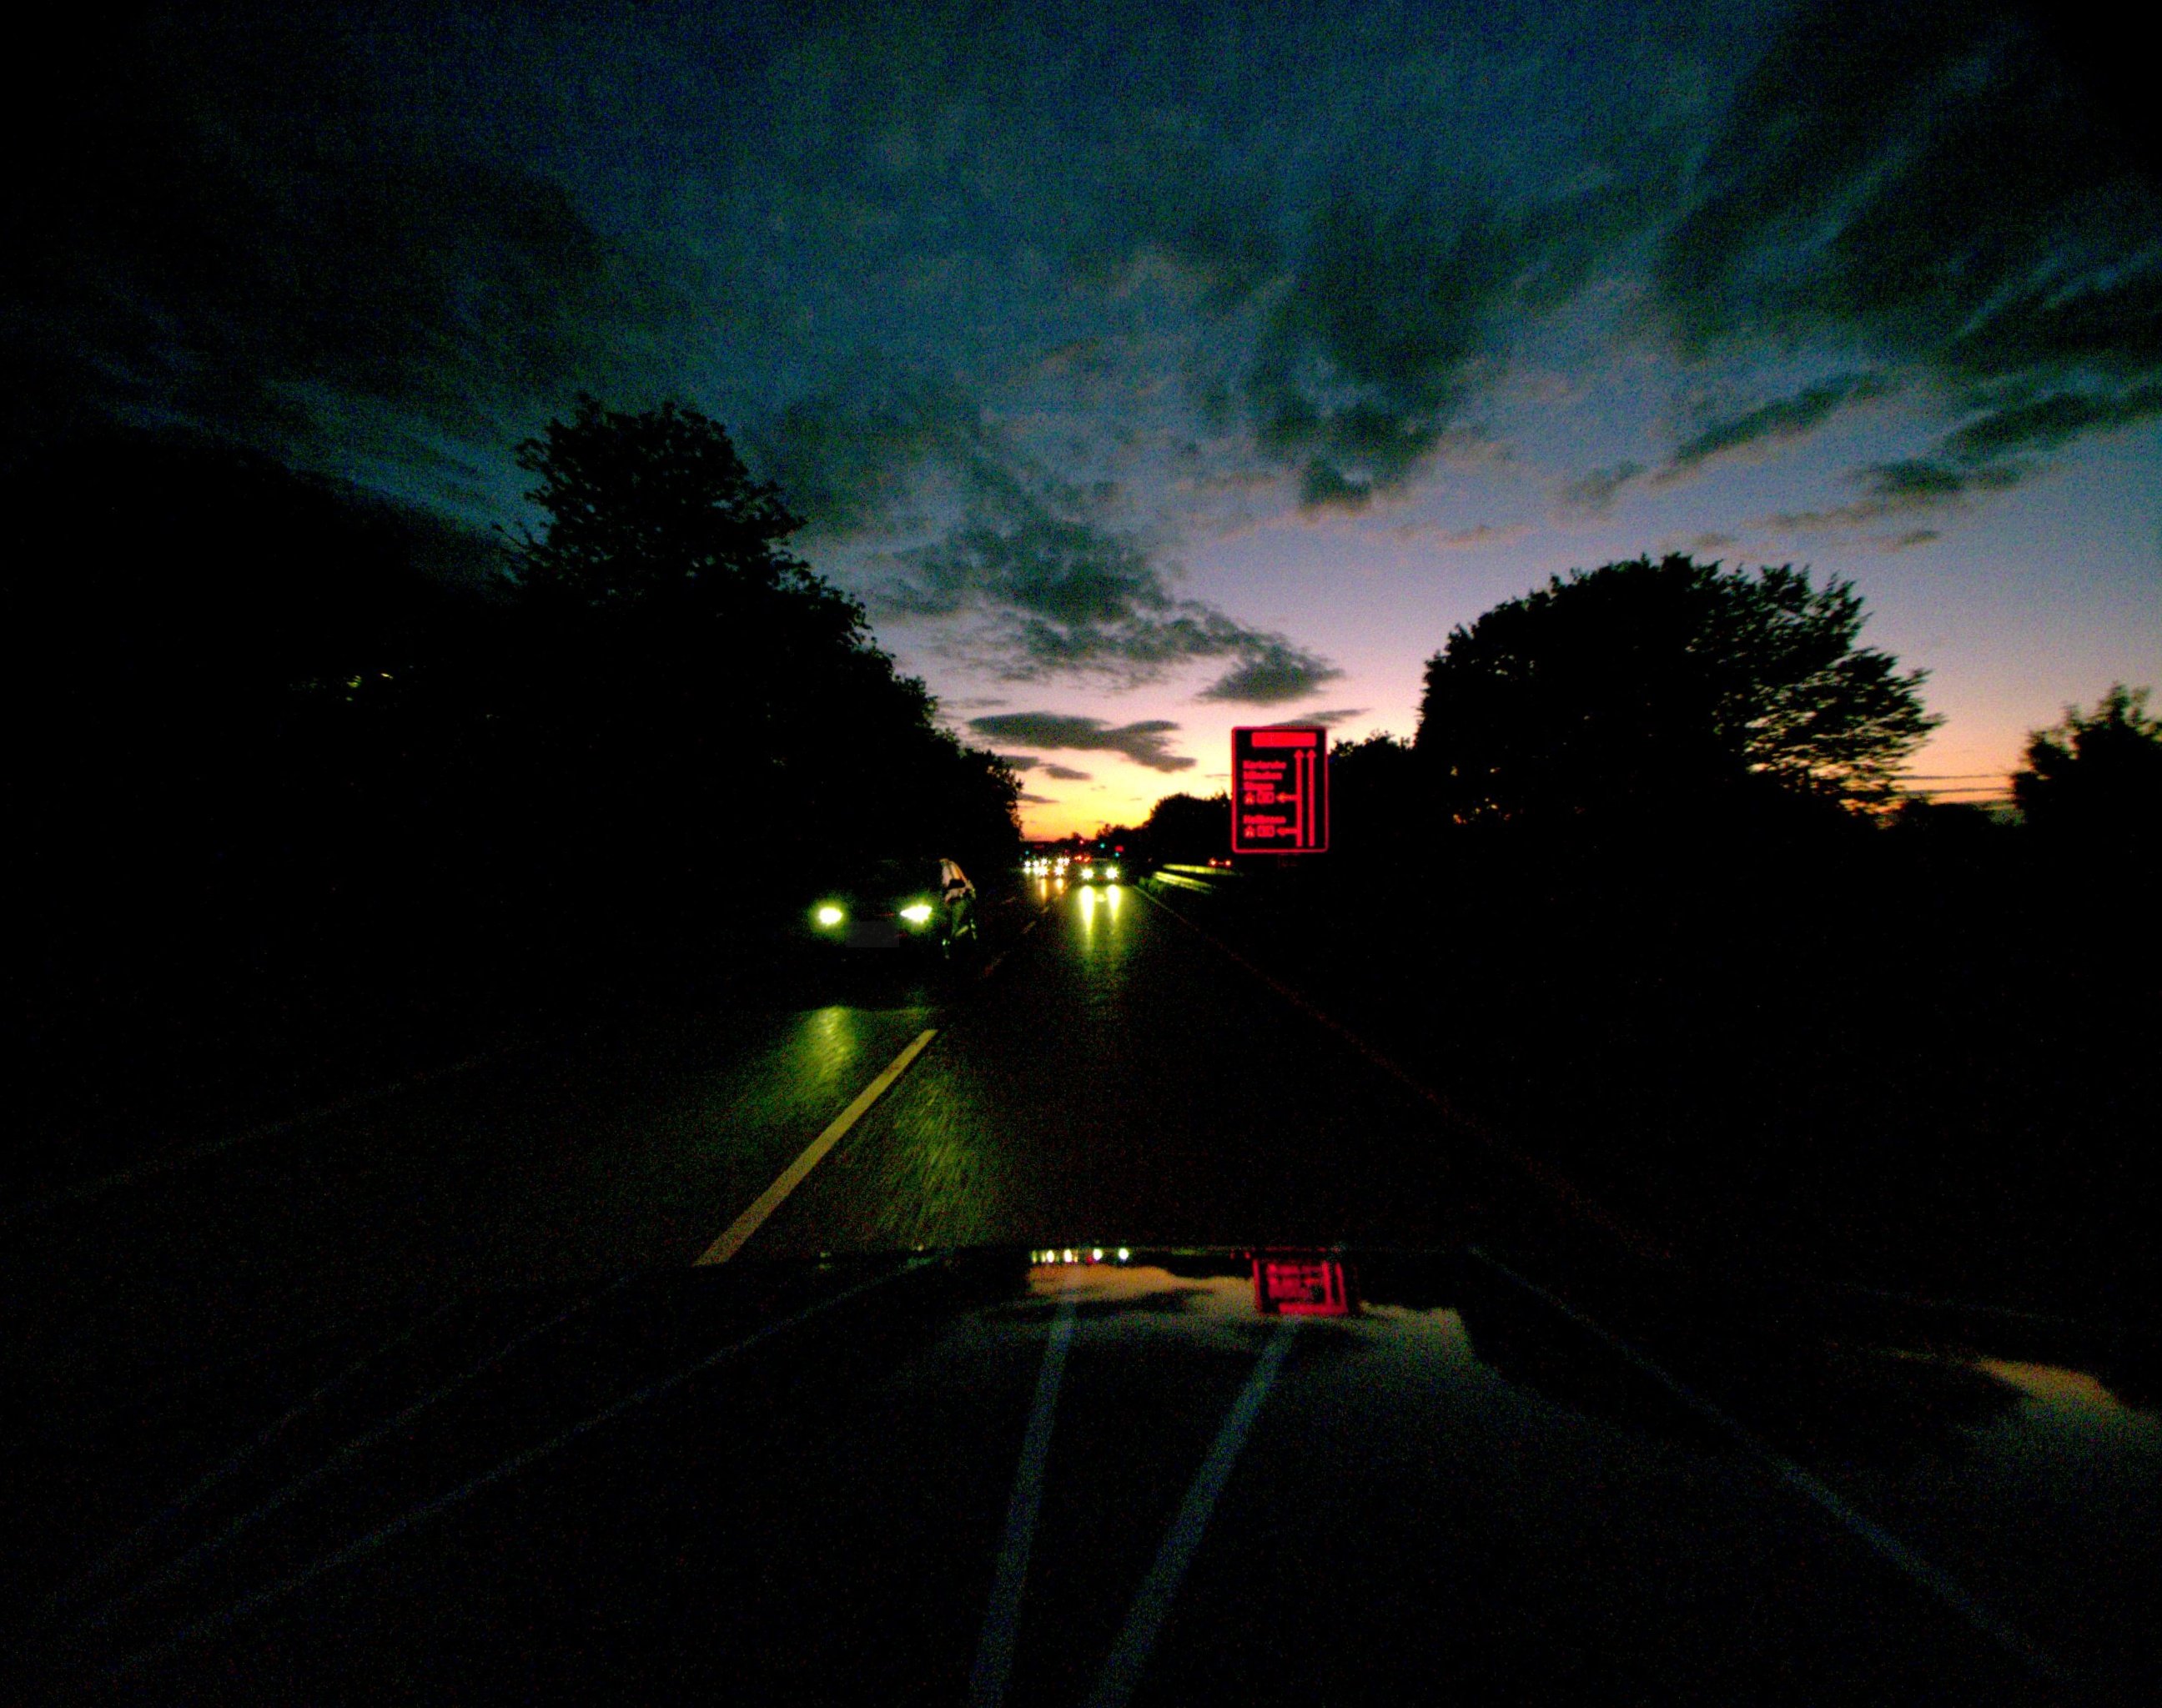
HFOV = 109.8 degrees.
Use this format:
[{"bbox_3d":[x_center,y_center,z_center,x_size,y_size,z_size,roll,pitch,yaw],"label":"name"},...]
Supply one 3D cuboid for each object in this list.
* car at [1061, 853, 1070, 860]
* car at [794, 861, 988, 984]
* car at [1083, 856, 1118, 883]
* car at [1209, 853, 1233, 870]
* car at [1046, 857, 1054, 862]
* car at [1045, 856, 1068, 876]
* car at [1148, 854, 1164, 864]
[{"bbox_3d":[-3.712,0.652,178.914,1.999,1.602,4.501,-2,0,-1],"label":"car"},{"bbox_3d":[-2.923,0.972,12.902,1.998,1.600,4.711,-2,0,1],"label":"car"},{"bbox_3d":[1.102,0.869,45.150,1.901,1.472,4.514,-2,0,0],"label":"car"},{"bbox_3d":[13.932,0.727,76.067,1.798,1.661,4.502,-1,0,3],"label":"car"},{"bbox_3d":[-8.064,1.428,196.902,1.999,1.423,4.501,0,0,-1],"label":"car"},{"bbox_3d":[-1.999,0.943,62.258,1.624,1.460,3.871,-2,0,1],"label":"car"},{"bbox_3d":[11.168,0.775,113.453,1.926,1.423,4.501,0,0,-1],"label":"car"}]
